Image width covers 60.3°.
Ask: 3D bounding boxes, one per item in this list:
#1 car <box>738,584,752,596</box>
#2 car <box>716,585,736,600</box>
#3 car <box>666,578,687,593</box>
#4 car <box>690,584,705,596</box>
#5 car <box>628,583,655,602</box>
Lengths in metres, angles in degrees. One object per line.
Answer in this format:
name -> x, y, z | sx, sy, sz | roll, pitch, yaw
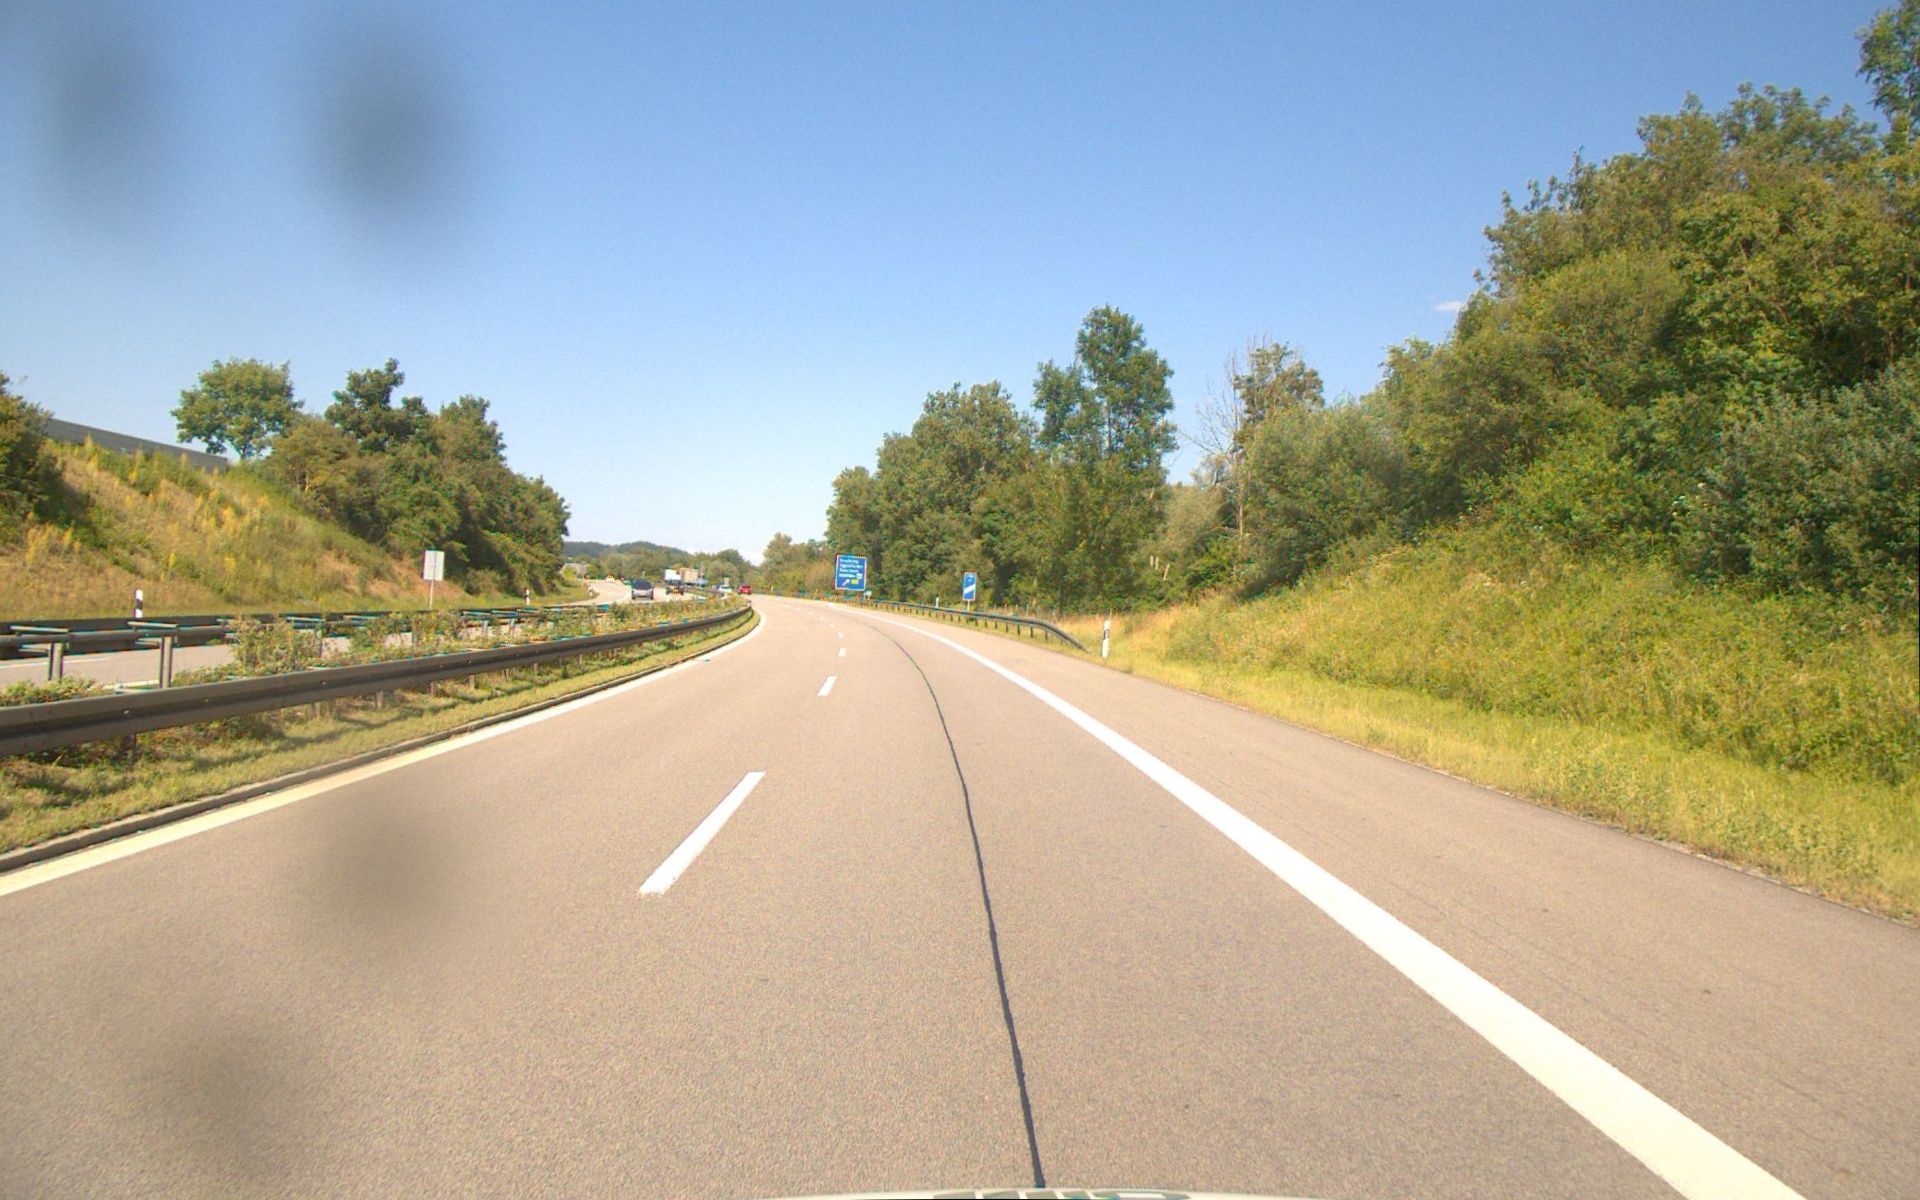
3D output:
car -> -32.345, -1.502, 248.627 | 1.752, 1.456, 3.989 | 6, -1, -11
car -> -29.613, -0.974, 209.031 | 2.027, 1.653, 3.985 | 2, -2, -14
car -> -31.271, -1.612, 182.471 | 2.028, 1.708, 4.880 | 0, 1, -7
car -> -39.026, -1.455, 245.897 | 1.960, 1.780, 3.985 | 1, 0, -14
car -> -26.662, -0.648, 138.461 | 1.784, 1.506, 4.679 | 2, 0, -6
